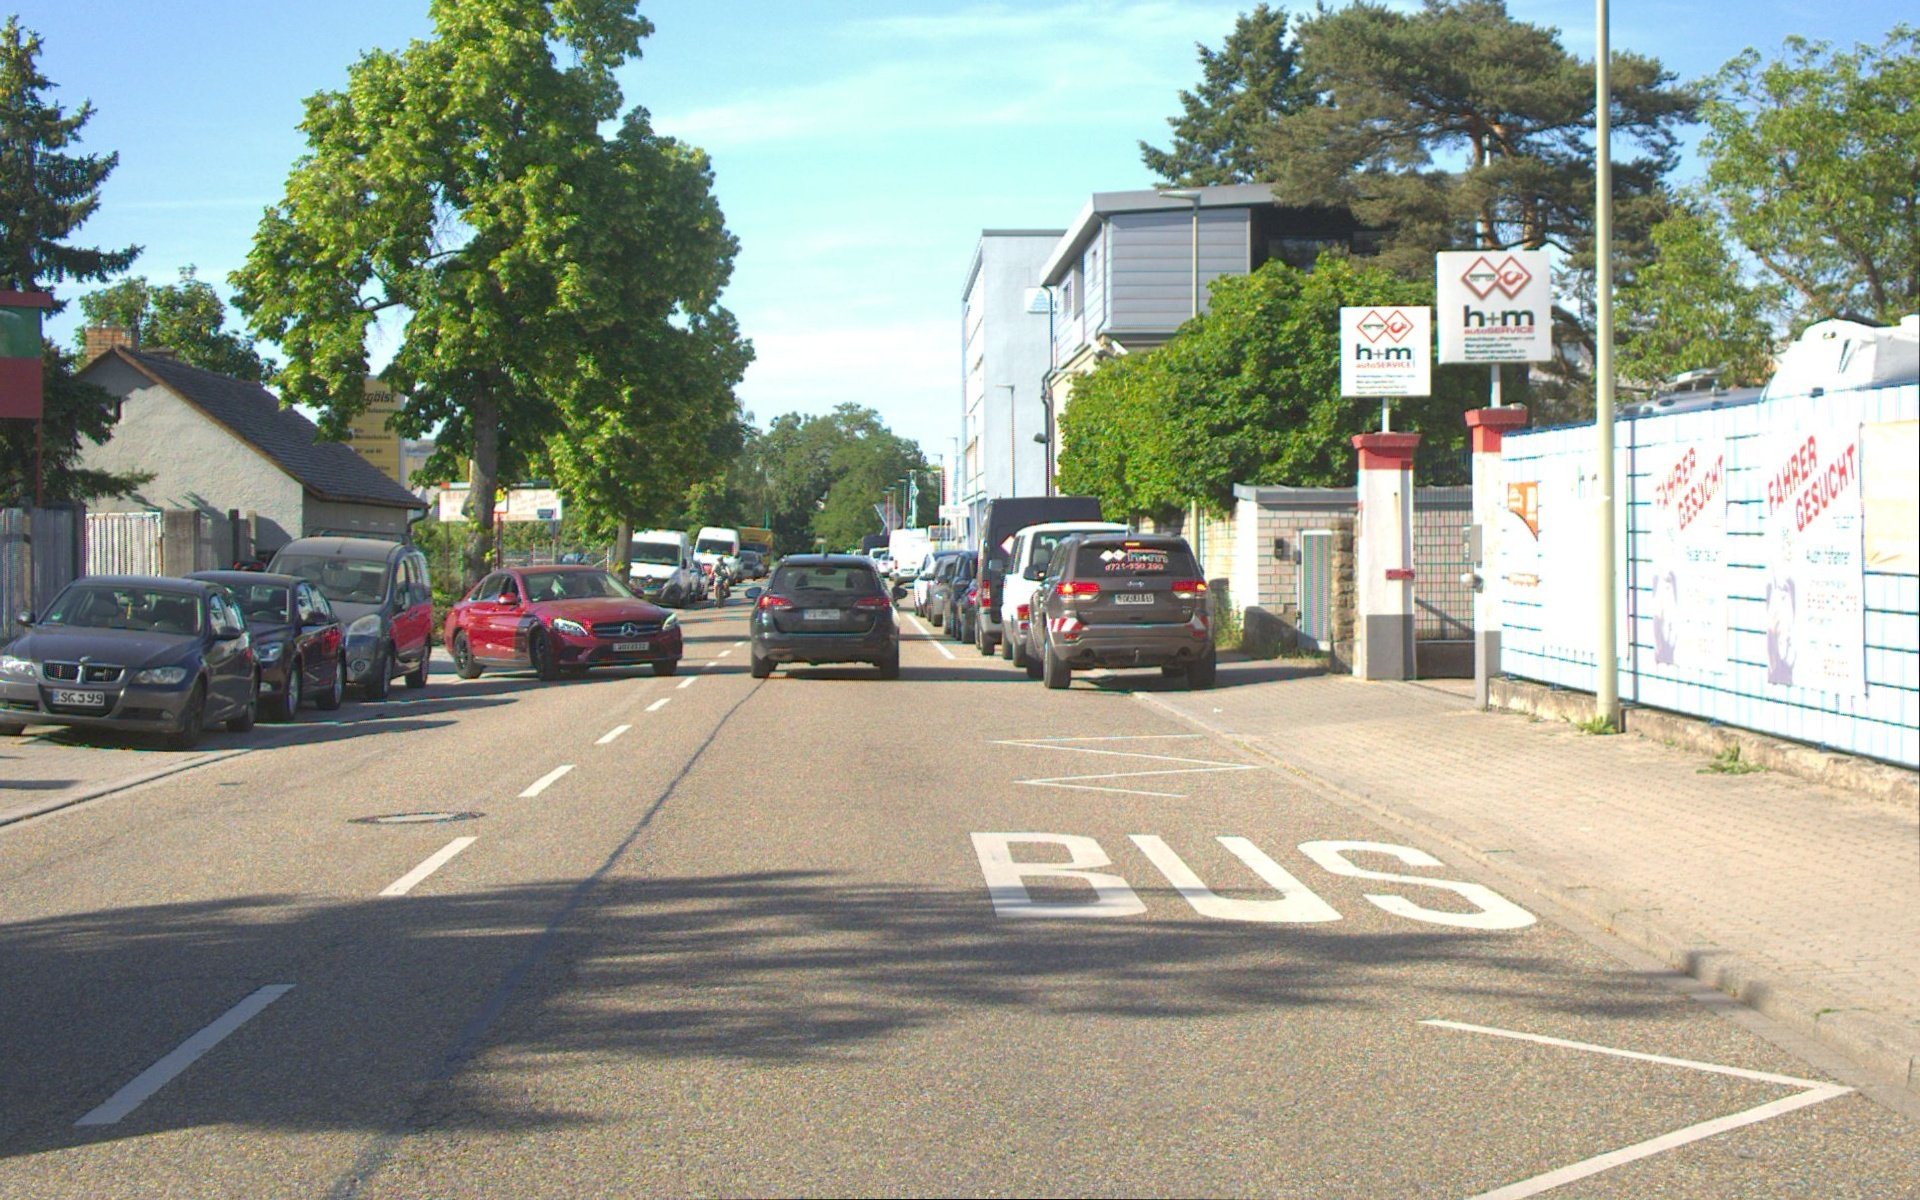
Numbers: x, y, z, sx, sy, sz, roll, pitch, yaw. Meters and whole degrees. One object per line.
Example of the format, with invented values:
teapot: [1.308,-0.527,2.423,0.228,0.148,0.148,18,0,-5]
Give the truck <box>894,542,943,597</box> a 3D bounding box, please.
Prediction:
truck: [-1.799,-1.319,145.639,1.993,2.280,6.956,0,1,-1]

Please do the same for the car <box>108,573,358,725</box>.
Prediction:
car: [-7.521,0.467,35.930,1.694,1.464,4.173,0,1,1]

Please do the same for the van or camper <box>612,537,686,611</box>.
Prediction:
van or camper: [-10.219,-0.867,112.869,2.323,2.354,6.529,0,1,-5]

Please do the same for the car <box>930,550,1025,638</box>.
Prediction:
car: [0.346,-0.151,73.581,1.919,1.819,4.080,0,1,-1]

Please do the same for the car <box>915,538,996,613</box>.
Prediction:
car: [-0.141,-0.613,85.468,1.919,1.819,4.080,0,1,-1]

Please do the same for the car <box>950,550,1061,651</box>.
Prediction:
car: [0.825,-0.014,64.157,1.919,1.819,4.080,0,1,-1]

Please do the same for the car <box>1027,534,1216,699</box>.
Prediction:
car: [1.831,0.156,40.094,1.919,1.819,4.080,0,1,-1]

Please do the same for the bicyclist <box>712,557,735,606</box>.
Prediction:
bicyclist: [-7.499,-0.591,108.970,0.695,1.534,0.635,0,1,-3]

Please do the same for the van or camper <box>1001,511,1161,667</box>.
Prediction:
van or camper: [1.588,-0.168,46.541,1.919,2.012,4.080,0,1,-1]

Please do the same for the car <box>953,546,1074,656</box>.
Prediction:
car: [0.889,-0.010,59.078,1.919,1.819,4.080,0,1,-1]

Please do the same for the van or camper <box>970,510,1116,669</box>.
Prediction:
van or camper: [1.207,-0.173,51.686,1.993,2.302,4.000,0,1,-1]

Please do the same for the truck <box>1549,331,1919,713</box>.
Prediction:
truck: [10.078,-0.782,35.542,7.372,3.758,2.833,0,1,-5]

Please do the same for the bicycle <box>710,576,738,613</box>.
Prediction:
bicycle: [-7.477,-0.182,108.857,0.829,1.149,2.941,0,1,-3]

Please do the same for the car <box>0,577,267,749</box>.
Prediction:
car: [-7.461,0.510,30.959,1.756,1.398,4.558,0,1,-3]

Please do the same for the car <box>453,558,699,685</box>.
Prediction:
car: [-4.957,0.236,43.949,1.875,1.480,4.045,-2,2,-25]

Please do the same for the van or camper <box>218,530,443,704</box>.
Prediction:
van or camper: [-7.388,0.185,40.718,1.890,1.919,4.266,-1,0,0]

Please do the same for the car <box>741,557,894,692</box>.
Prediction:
car: [-1.679,0.261,41.597,1.711,1.527,3.688,0,1,0]

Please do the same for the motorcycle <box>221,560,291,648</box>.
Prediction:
motorcycle: [-11.698,0.049,57.185,0.777,1.440,2.038,0,1,-1]

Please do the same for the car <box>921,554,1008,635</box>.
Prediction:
car: [0.079,-0.151,79.229,1.919,1.819,4.080,0,1,-1]
